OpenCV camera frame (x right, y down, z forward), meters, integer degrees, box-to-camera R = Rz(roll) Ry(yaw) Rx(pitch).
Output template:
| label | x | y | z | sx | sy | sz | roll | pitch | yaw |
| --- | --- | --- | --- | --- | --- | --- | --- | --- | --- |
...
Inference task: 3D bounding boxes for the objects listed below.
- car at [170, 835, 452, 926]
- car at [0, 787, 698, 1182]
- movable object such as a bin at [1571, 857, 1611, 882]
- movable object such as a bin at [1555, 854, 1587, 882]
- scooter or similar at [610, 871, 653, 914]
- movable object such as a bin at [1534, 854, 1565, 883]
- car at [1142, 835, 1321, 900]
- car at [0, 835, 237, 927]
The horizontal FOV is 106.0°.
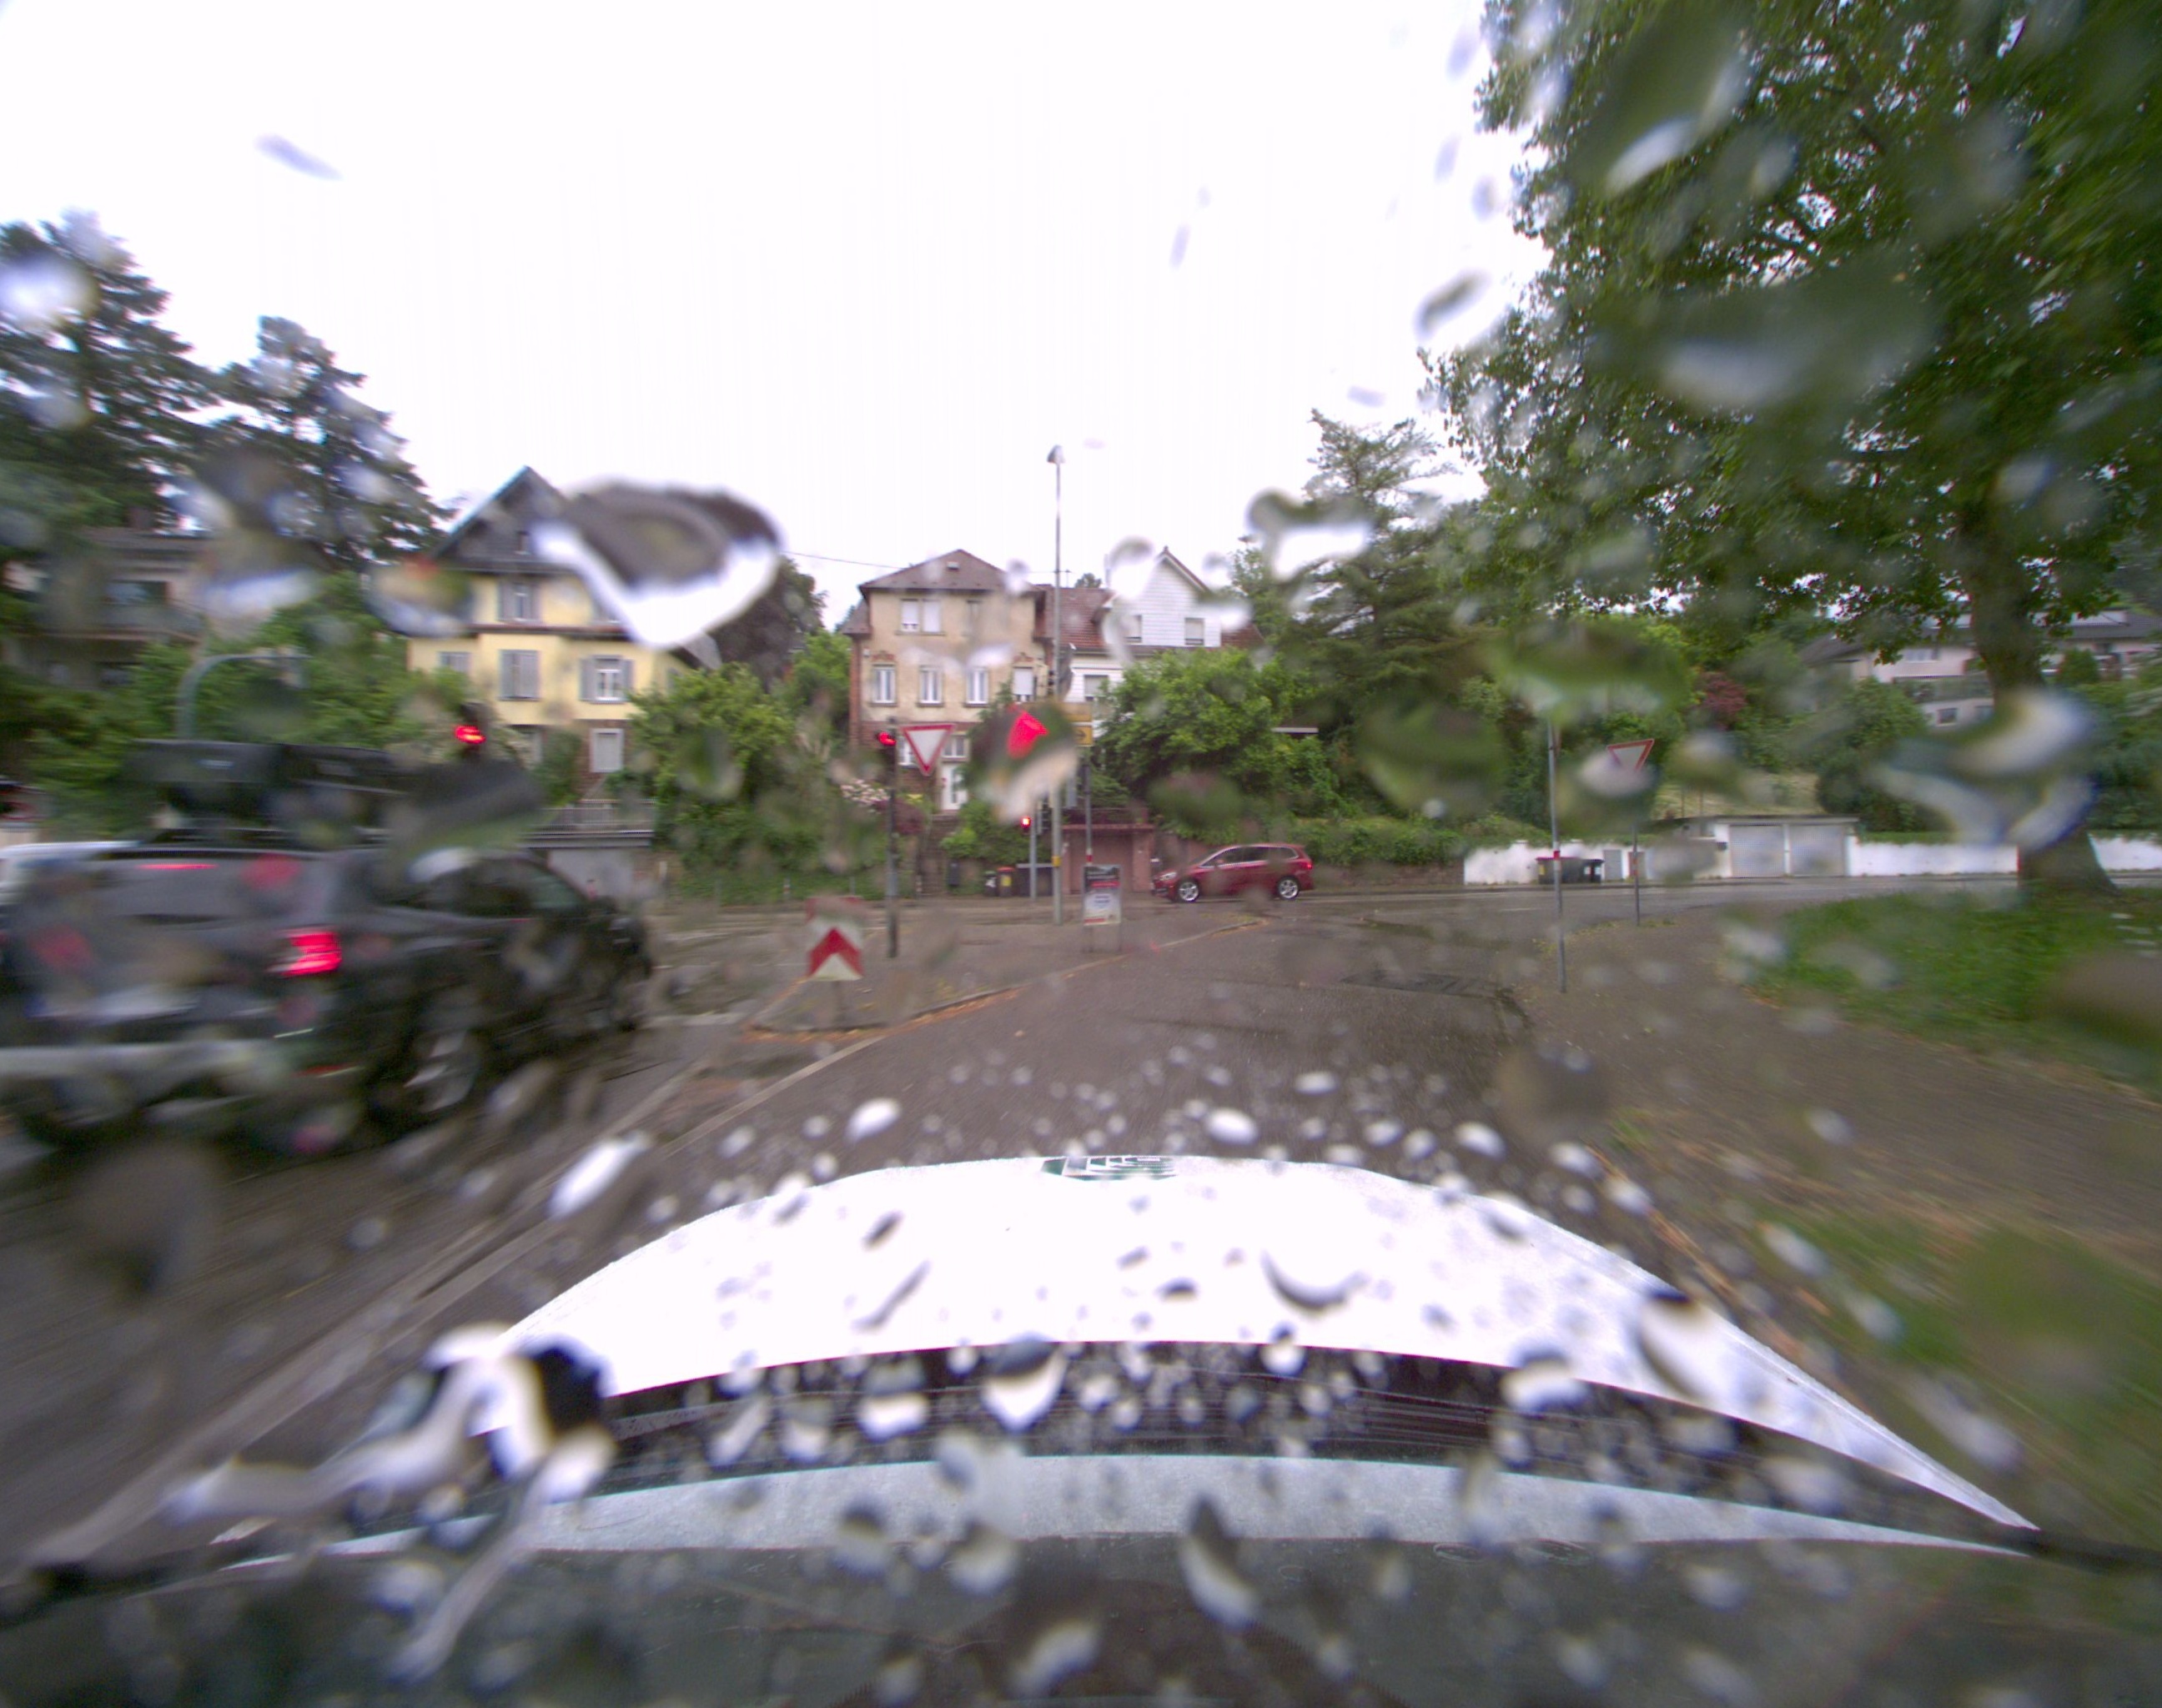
| label | x | y | z | sx | sy | sz | roll | pitch | yaw |
| --- | --- | --- | --- | --- | --- | --- | --- | --- | --- |
| car | -22.226 | 0.752 | 23.789 | 5.652 | 2.494 | 2.311 | 0 | -2 | -6 |
| car | -4.490 | 0.550 | 5.861 | 1.759 | 1.711 | 4.589 | 1 | 0 | -7 |
| movable object such as a bin | 19.608 | 0.587 | 31.329 | 0.950 | 0.916 | 0.850 | -2 | -2 | -7 |
| movable object such as a bin | 18.633 | 0.540 | 30.964 | 0.790 | 1.060 | 0.635 | -1 | -2 | -6 |
| scooter or similar | -14.274 | 1.213 | 25.887 | 0.456 | 1.335 | 1.100 | -3 | -2 | 41 |
| movable object such as a bin | 17.827 | 0.562 | 31.004 | 0.750 | 1.060 | 0.687 | -1 | -2 | -6 |
| car | 4.130 | 0.380 | 22.751 | 4.562 | 1.601 | 1.771 | -2 | -2 | -6 |
| car | -28.322 | 0.764 | 23.265 | 5.555 | 2.494 | 2.311 | 0 | -2 | -6 |
